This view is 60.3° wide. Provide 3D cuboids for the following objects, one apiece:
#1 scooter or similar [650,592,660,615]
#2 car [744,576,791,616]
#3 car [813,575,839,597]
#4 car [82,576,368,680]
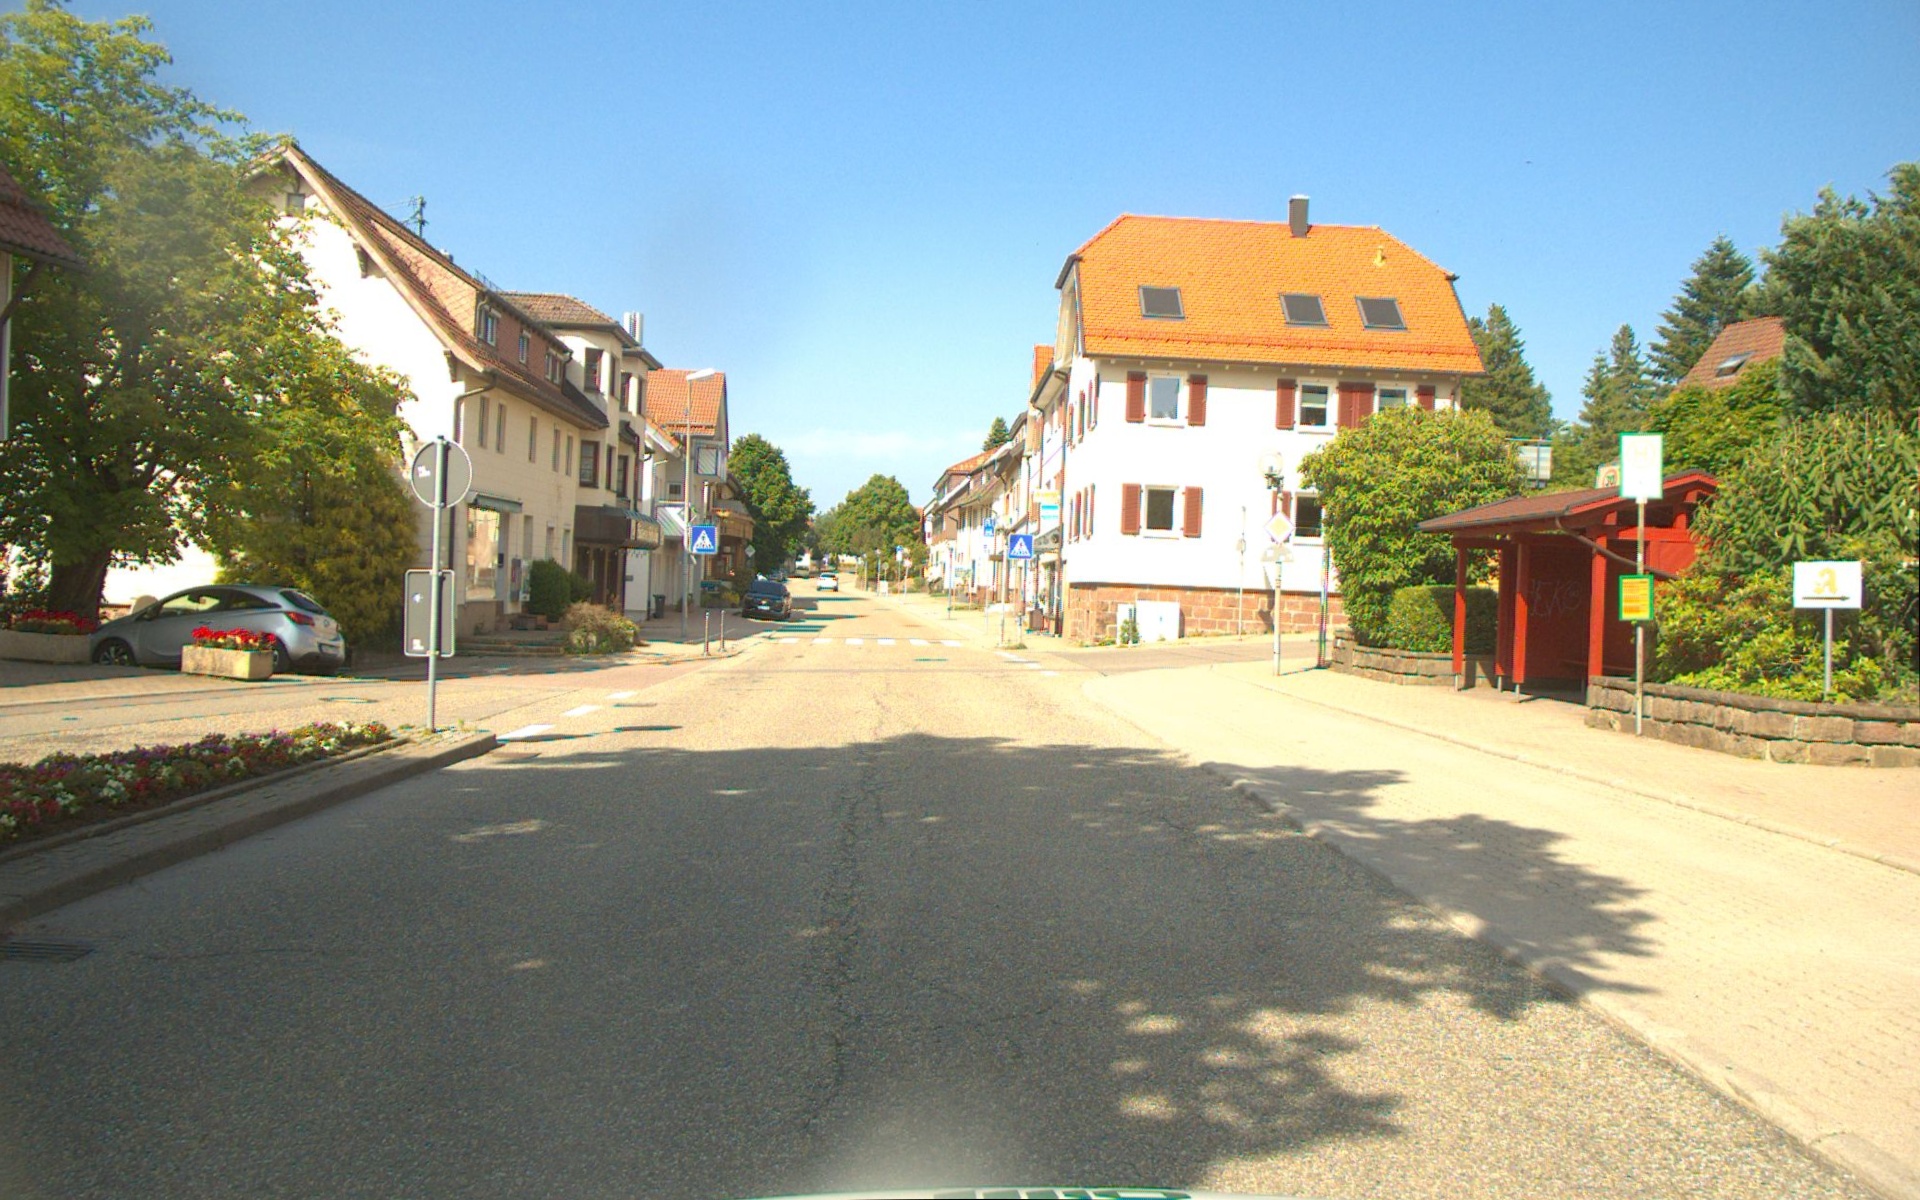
[{"bbox_3d":[-12.192,0.136,66.145,0.345,0.905,0.394,-1,0,-9],"label":"scooter or similar"},{"bbox_3d":[-8.332,-0.186,71.942,1.640,1.559,3.534,5,0,-3],"label":"car"},{"bbox_3d":[-13.062,-1.378,160.939,2.447,2.049,4.299,-1,0,-6],"label":"car"},{"bbox_3d":[-11.534,0.483,26.071,3.679,1.480,1.819,-1,-5,10],"label":"car"}]
